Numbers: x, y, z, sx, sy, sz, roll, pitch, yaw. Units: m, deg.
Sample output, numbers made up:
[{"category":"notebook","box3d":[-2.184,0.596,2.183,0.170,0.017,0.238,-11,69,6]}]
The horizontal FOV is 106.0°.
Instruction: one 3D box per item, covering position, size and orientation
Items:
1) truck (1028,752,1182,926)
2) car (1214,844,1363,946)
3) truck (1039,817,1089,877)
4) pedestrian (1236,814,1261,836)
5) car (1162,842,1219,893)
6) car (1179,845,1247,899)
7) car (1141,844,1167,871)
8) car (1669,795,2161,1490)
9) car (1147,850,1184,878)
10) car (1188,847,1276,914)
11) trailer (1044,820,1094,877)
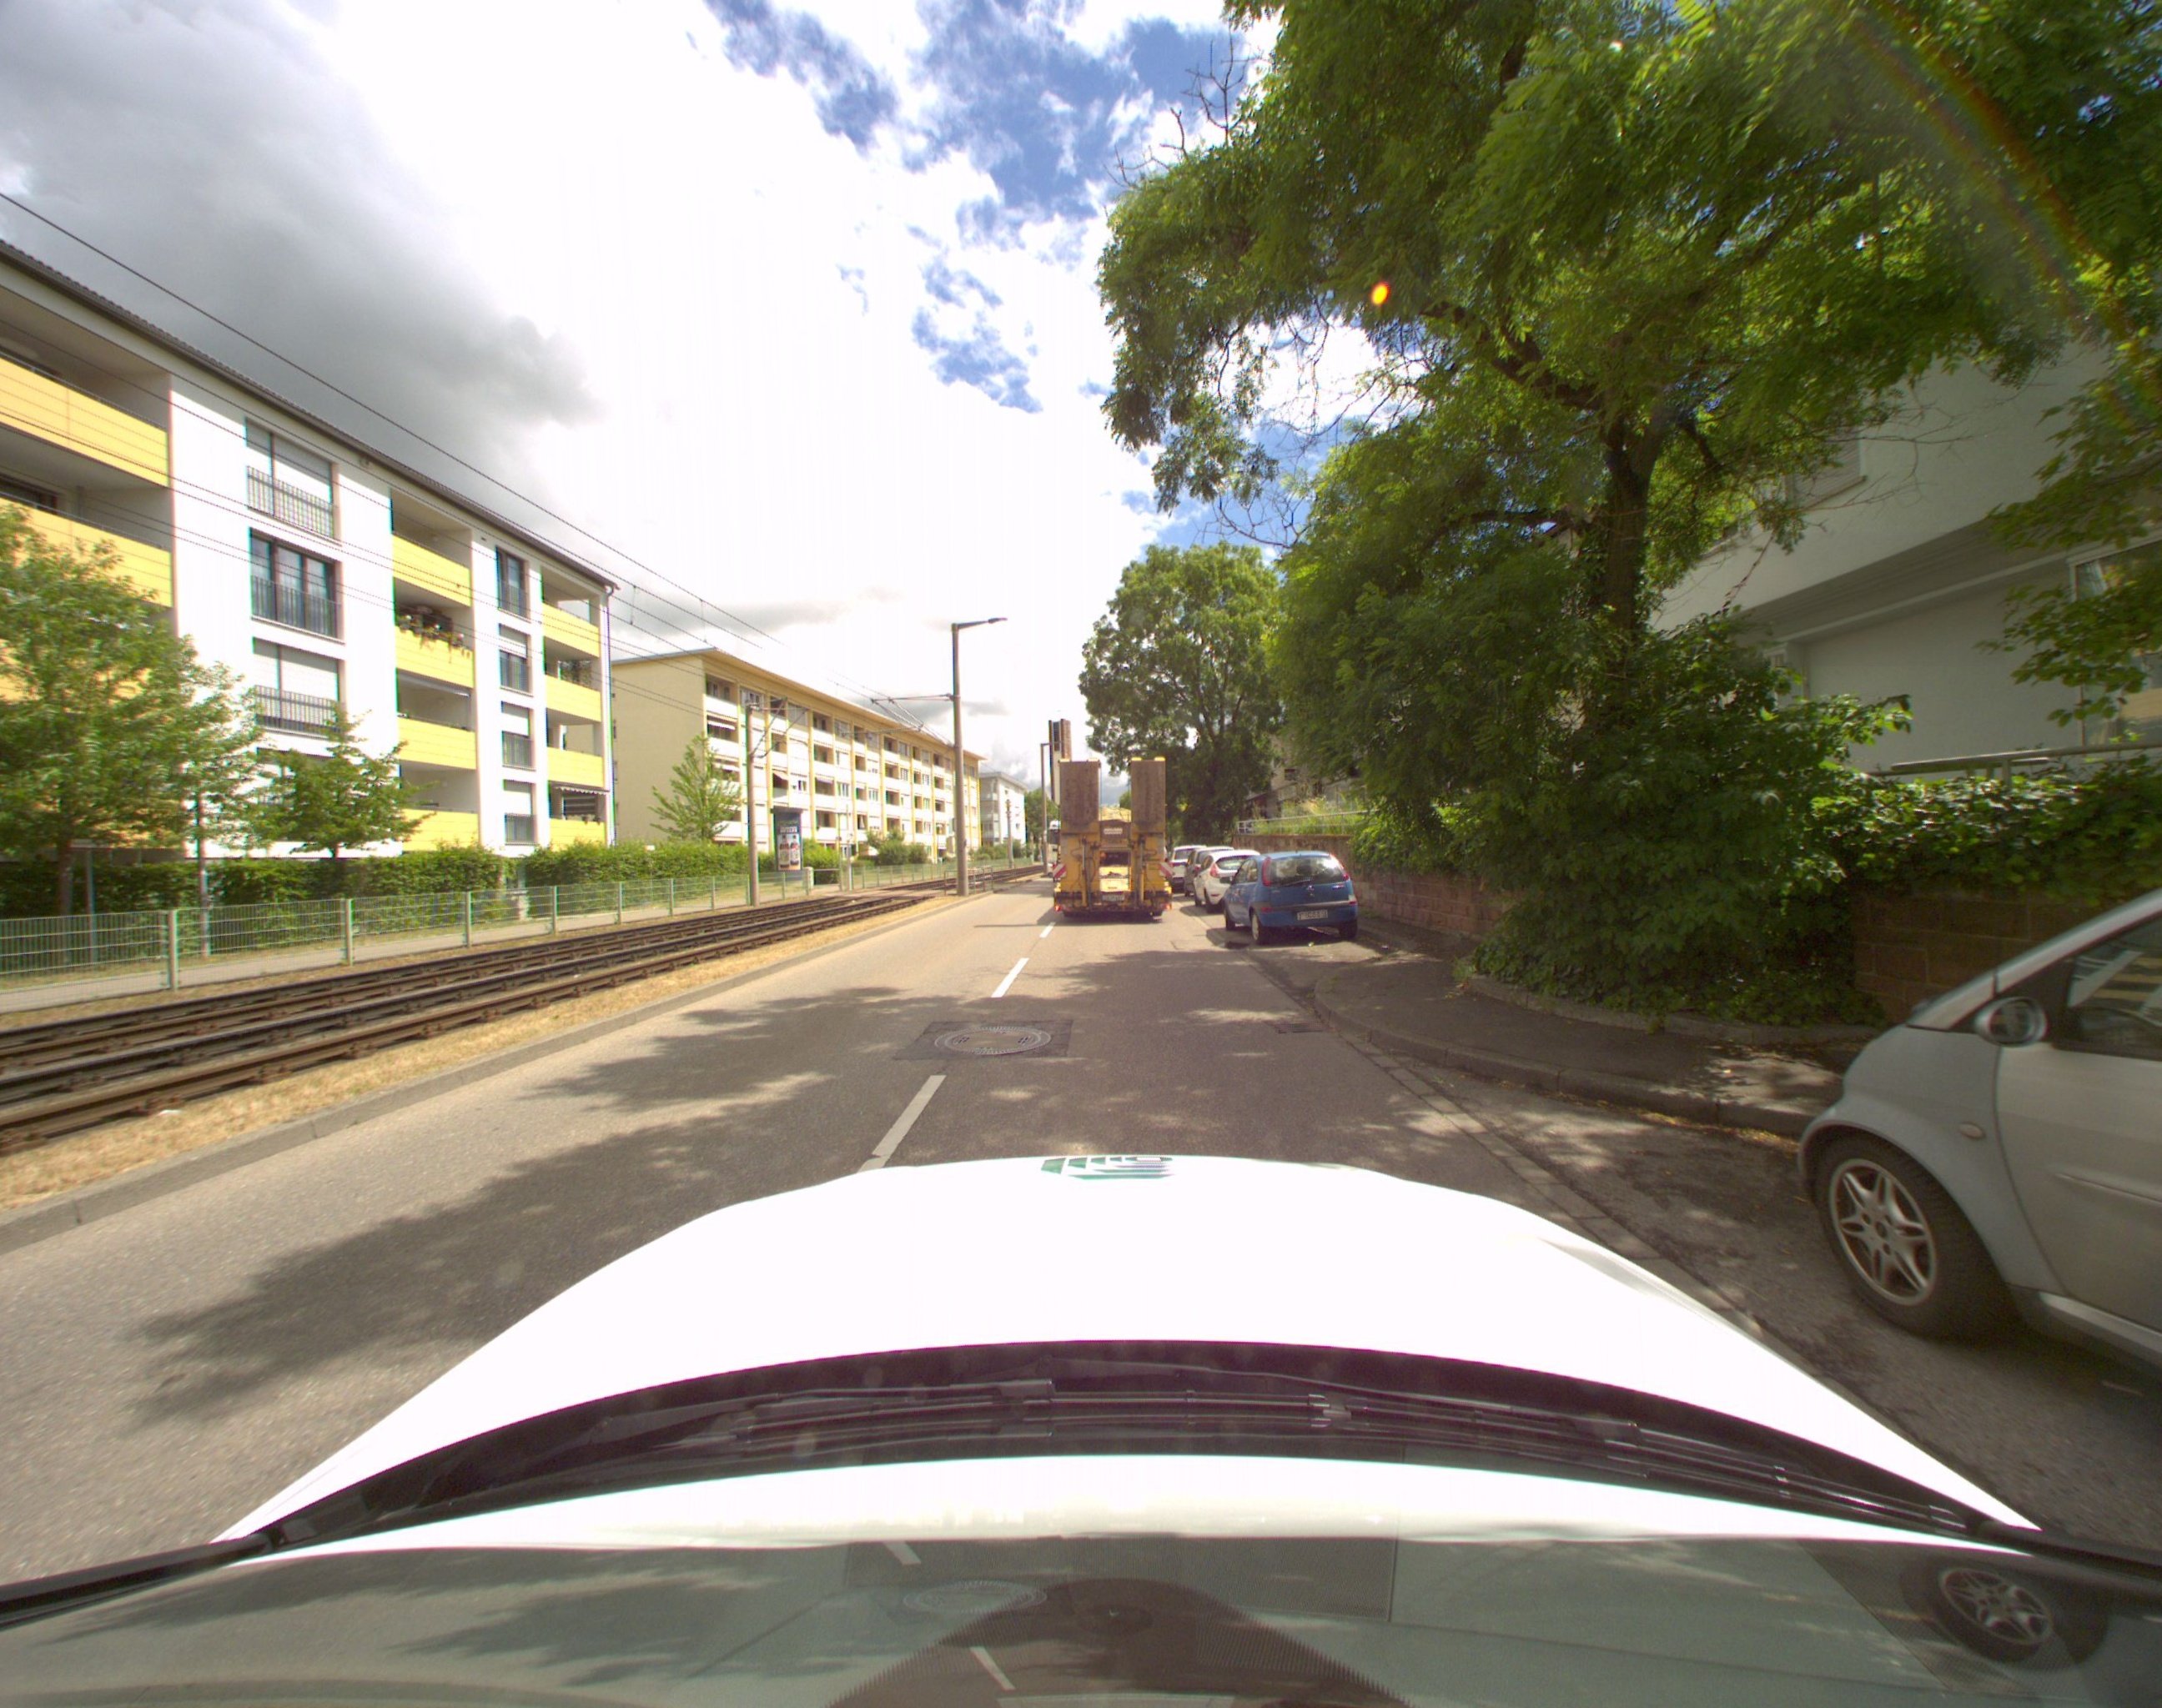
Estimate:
[{"category":"truck","box3d":[0.670,-0.381,23.360,3.112,3.564,12.464,-2,0,1]},{"category":"car","box3d":[3.455,0.617,14.241,1.603,1.456,3.675,-4,0,0]},{"category":"truck","box3d":[-0.999,-0.473,52.318,2.687,3.580,6.149,-1,0,3]},{"category":"pedestrian","box3d":[6.286,-1.082,30.541,0.792,0.790,0.705,-2,0,1]},{"category":"car","box3d":[4.040,0.436,30.565,1.815,1.682,4.582,-3,0,5]},{"category":"car","box3d":[4.104,0.517,25.788,1.576,1.552,3.475,-2,0,1]},{"category":"car","box3d":[5.671,0.230,63.766,1.792,1.968,4.593,-3,0,3]},{"category":"car","box3d":[3.124,0.611,1.836,1.508,1.534,2.847,-3,0,1]},{"category":"car","box3d":[4.732,0.540,46.043,1.828,1.405,4.418,-3,0,4]},{"category":"car","box3d":[3.737,0.605,20.745,1.639,1.490,3.824,-2,0,2]},{"category":"trailer","box3d":[-0.684,-0.436,58.968,2.687,3.580,13.685,-1,1,3]}]
